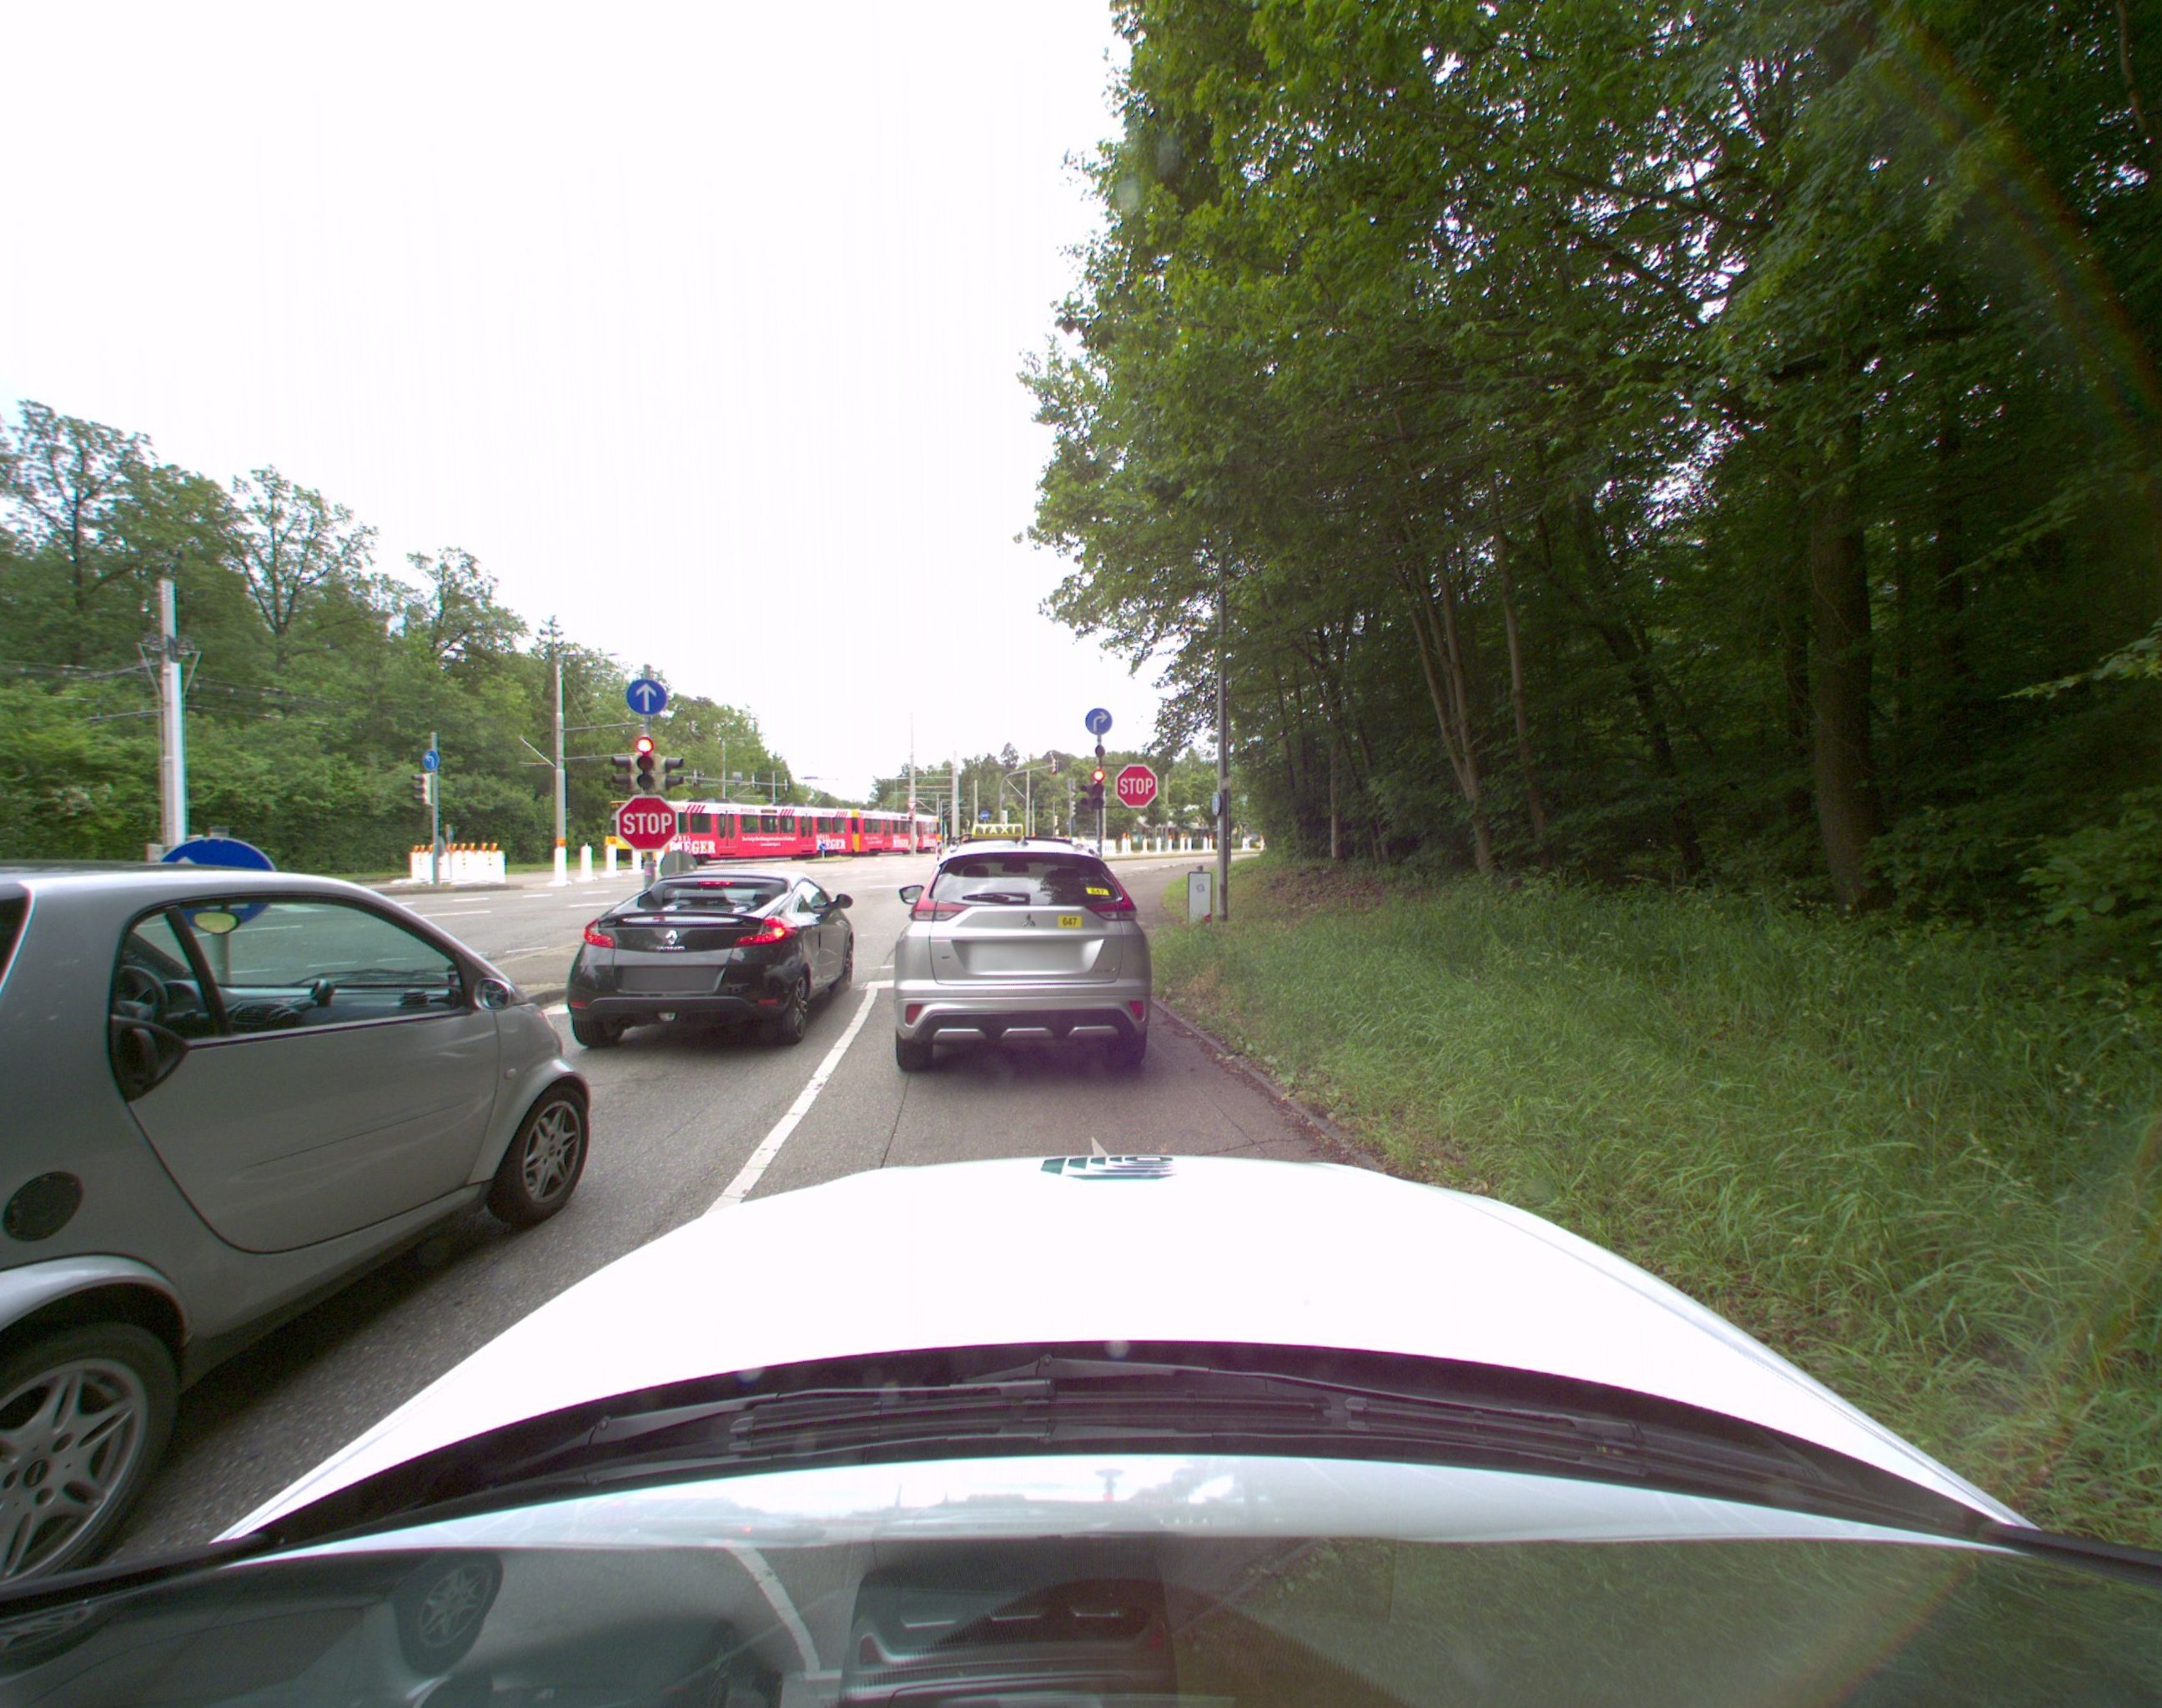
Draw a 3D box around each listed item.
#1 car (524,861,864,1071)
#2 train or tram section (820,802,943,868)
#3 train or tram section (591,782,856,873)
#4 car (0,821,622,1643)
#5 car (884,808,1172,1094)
[{"bbox_3d":[-3.211,0.806,7.572,1.772,1.361,3.469,-1,1,-7],"label":"car"},{"bbox_3d":[-15.844,-1.281,67.354,2.929,4.650,18.590,-1,0,9],"label":"train or tram section"},{"bbox_3d":[-20.103,-1.242,48.973,2.933,4.418,18.813,-1,-1,17],"label":"train or tram section"},{"bbox_3d":[-2.906,0.731,2.575,1.455,1.586,2.724,-1,1,-4],"label":"car"},{"bbox_3d":[-0.520,0.583,6.964,1.772,1.748,3.772,1,1,-7],"label":"car"}]
